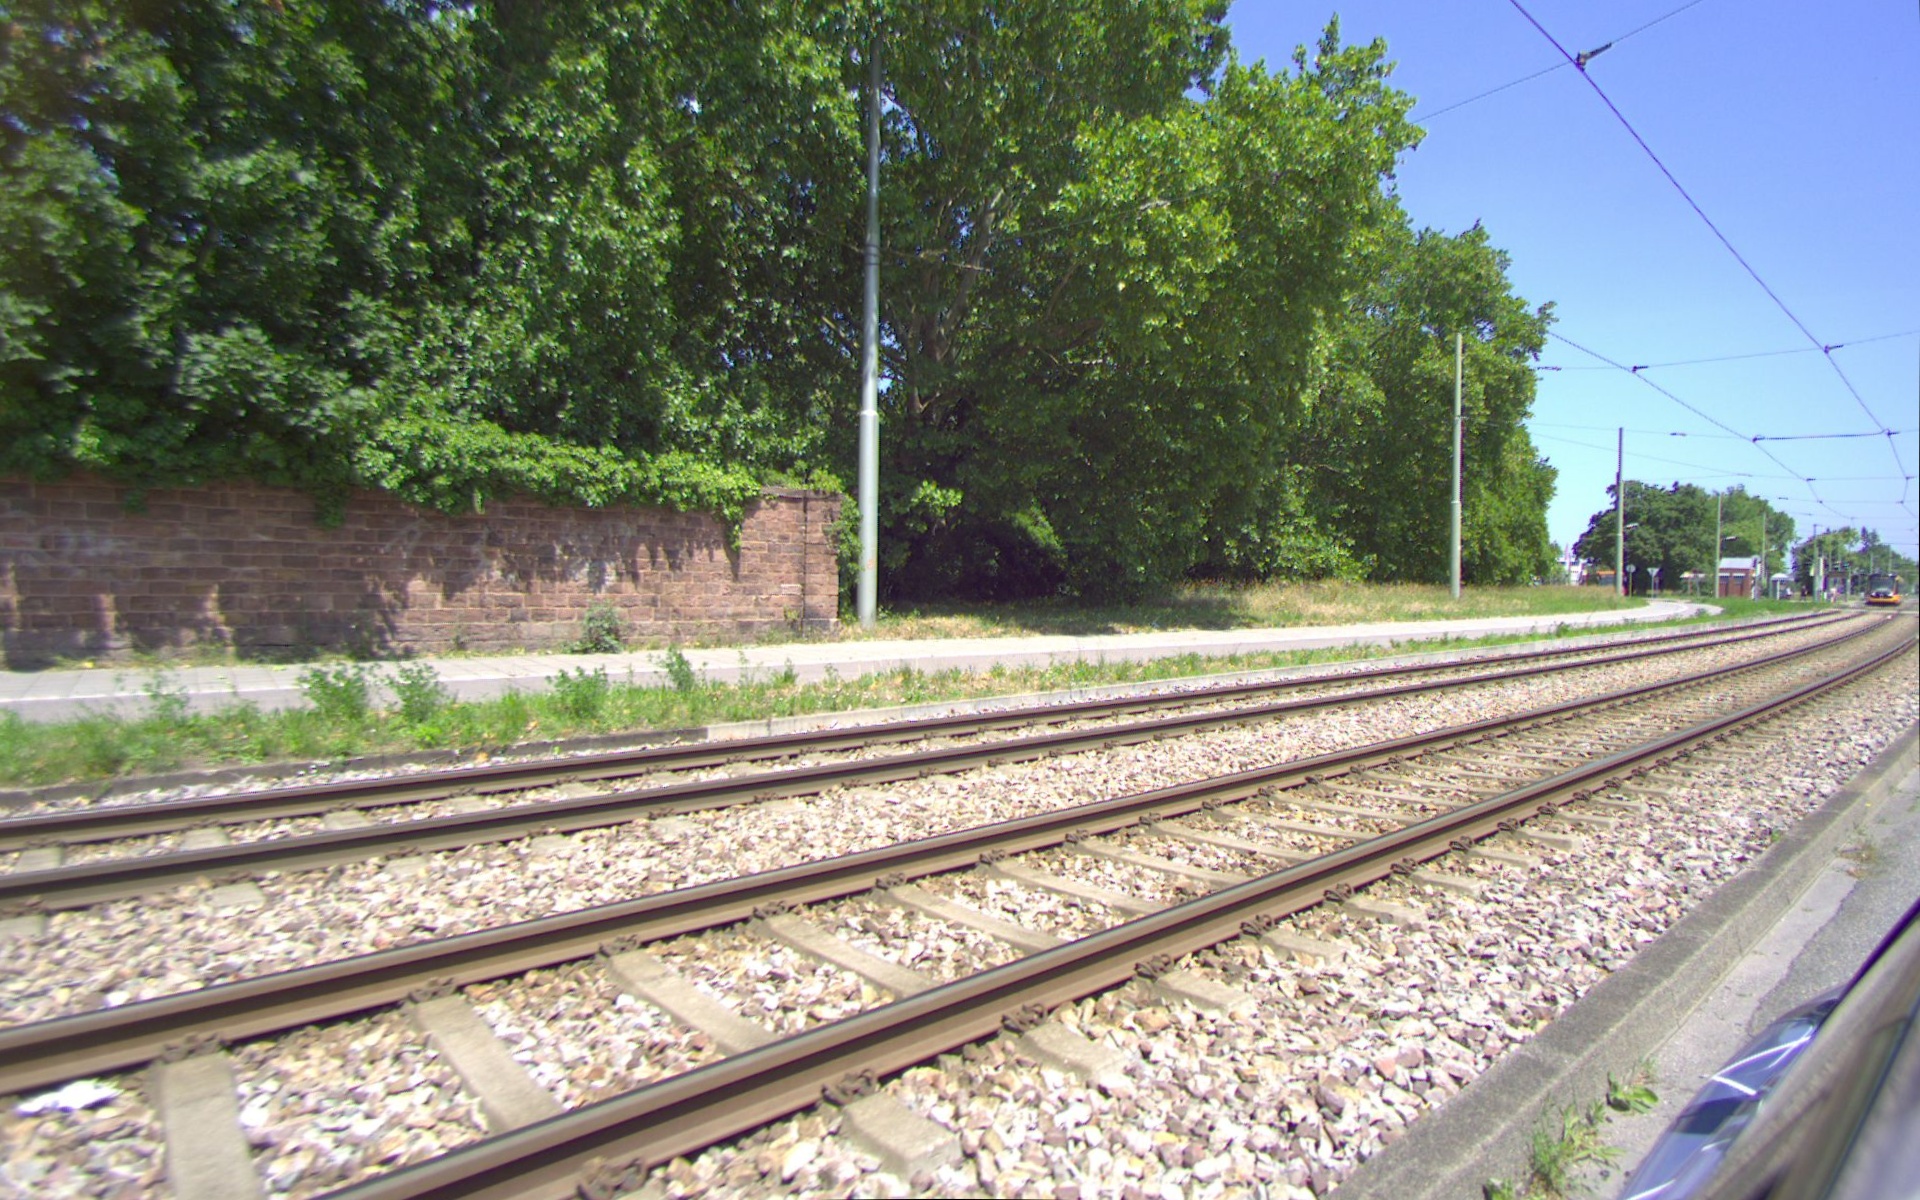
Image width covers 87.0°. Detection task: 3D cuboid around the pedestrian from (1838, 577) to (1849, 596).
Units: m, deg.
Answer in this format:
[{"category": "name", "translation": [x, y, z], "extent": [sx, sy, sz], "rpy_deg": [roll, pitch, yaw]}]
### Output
[{"category": "pedestrian", "translation": [84.300, -1.277, 96.543], "extent": [0.631, 1.781, 0.807], "rpy_deg": [-1, 0, 32]}]

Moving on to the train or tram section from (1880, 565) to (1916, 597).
[{"category": "train or tram section", "translation": [101.562, -2.057, 109.537], "extent": [7.140, 3.364, 2.520], "rpy_deg": [-1, 2, -44]}]

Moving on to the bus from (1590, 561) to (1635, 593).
[{"category": "bus", "translation": [75.400, -2.651, 117.147], "extent": [2.740, 3.482, 12.337], "rpy_deg": [-1, 1, 26]}]
